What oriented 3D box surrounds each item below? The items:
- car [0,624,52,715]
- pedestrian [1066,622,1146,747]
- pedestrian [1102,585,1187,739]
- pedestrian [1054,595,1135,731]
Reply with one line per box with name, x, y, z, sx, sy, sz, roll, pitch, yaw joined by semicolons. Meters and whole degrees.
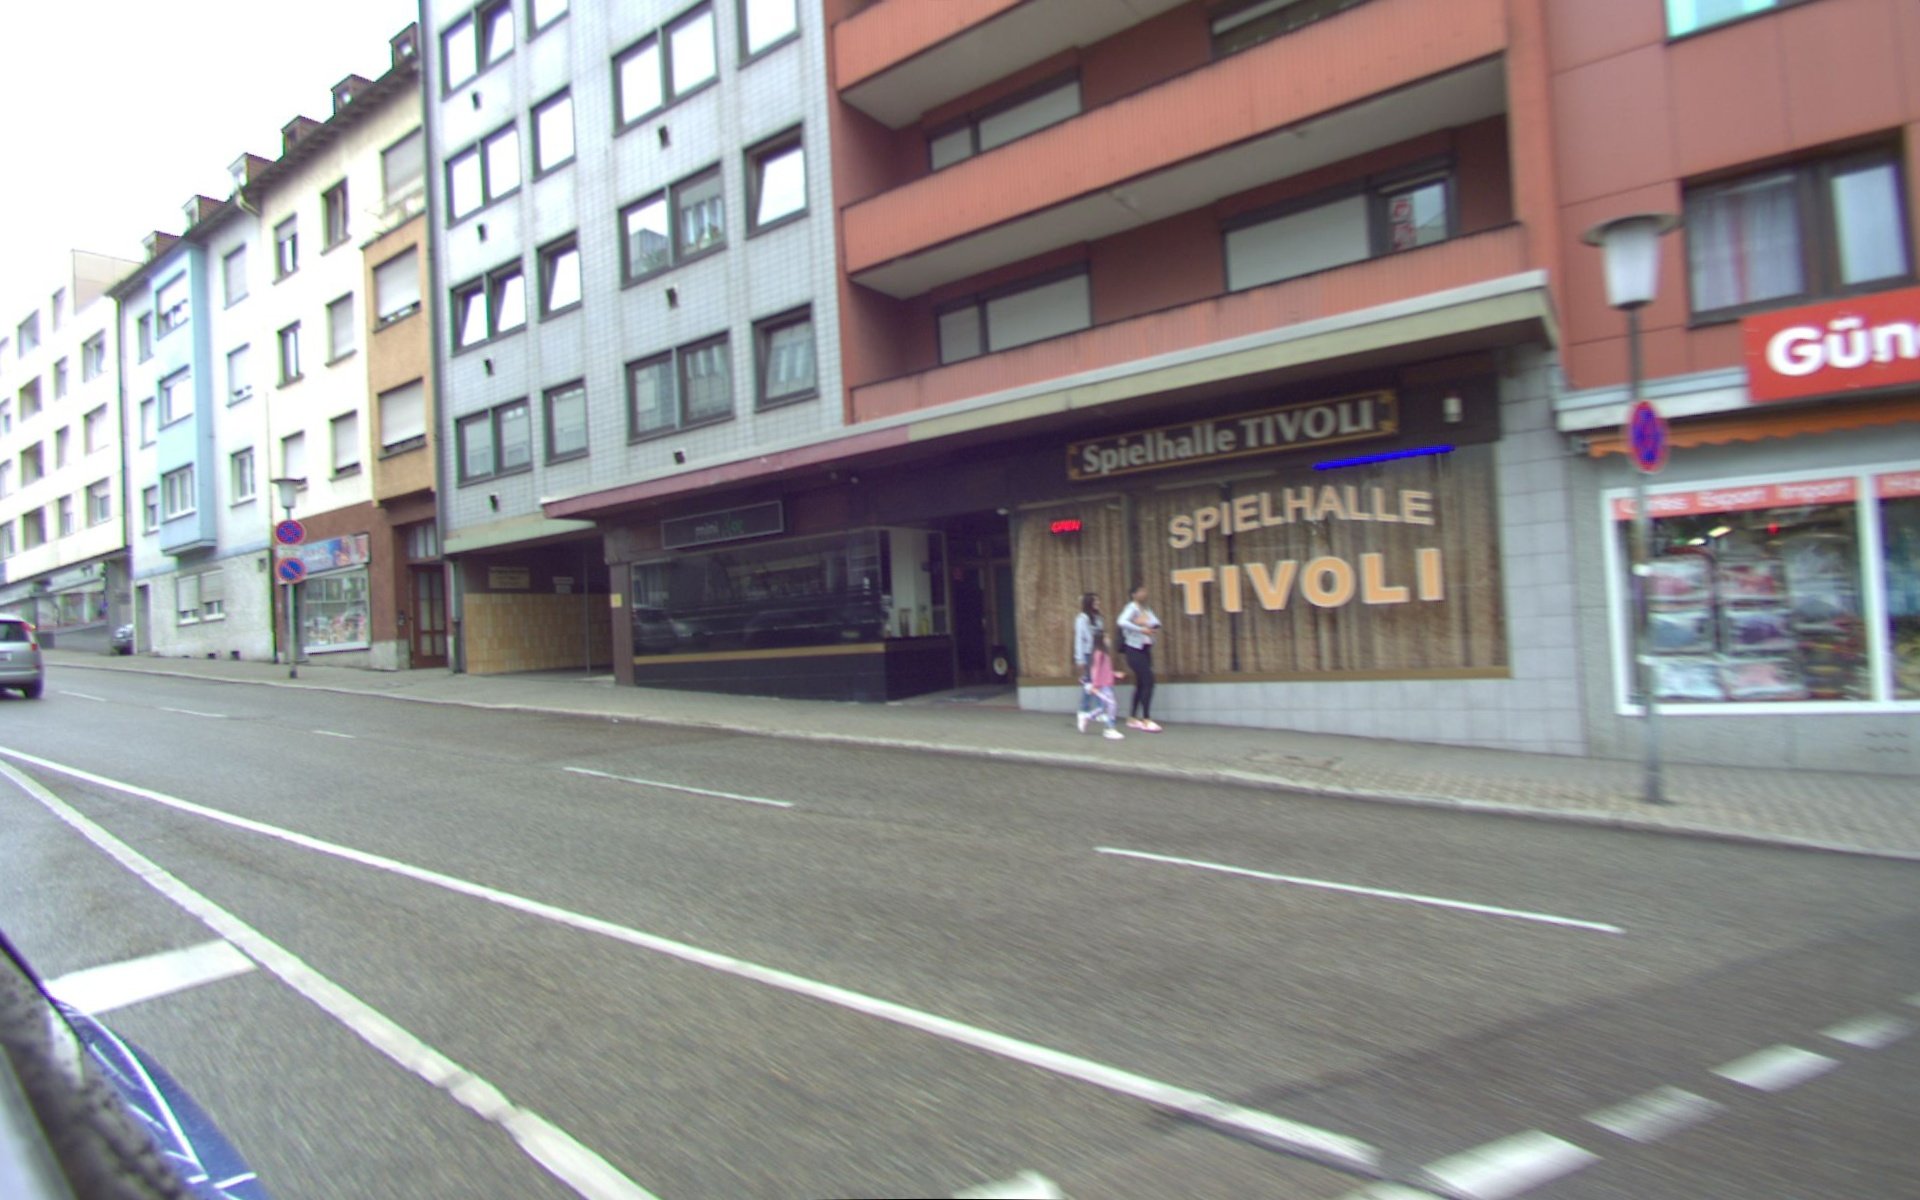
car;-18.799;1.252;18.993;4.166;1.605;1.720;-1;-2;36
pedestrian;1.644;0.930;11.402;0.720;1.333;0.530;-2;2;28
pedestrian;2.178;0.699;11.894;0.720;1.702;0.822;-2;2;27
pedestrian;1.672;0.755;12.525;0.720;1.572;0.822;-2;2;27
